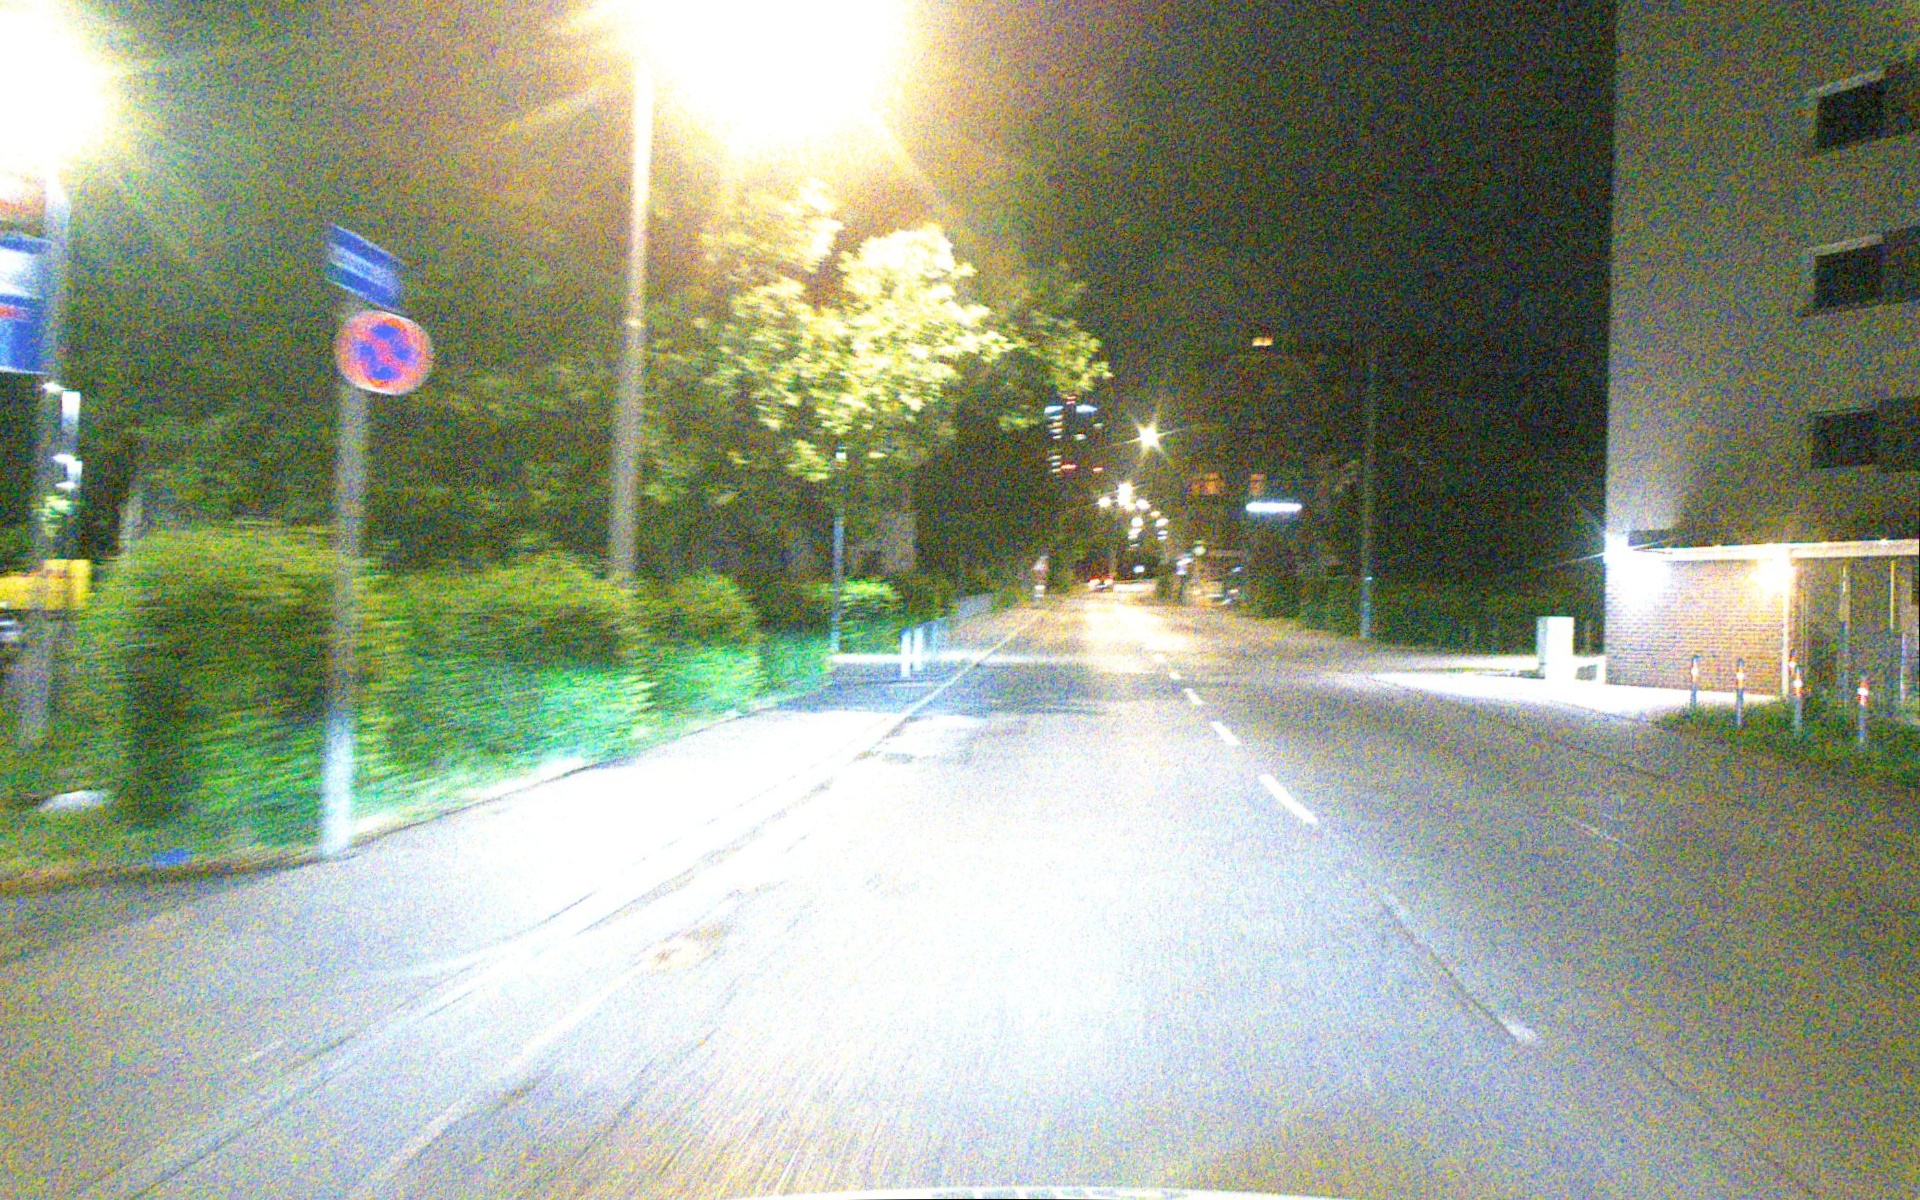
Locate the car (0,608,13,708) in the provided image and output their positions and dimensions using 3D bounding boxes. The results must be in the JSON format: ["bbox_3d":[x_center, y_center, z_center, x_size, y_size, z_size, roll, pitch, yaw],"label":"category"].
[{"bbox_3d":[-15.387,0.863,24.773,1.858,1.439,4.433,-1,0,-27],"label":"car"}]

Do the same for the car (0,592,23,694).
[{"bbox_3d":[-18.015,0.750,29.512,2.016,1.724,4.837,-1,0,-27],"label":"car"}]

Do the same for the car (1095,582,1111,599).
[{"bbox_3d":[16.799,-1.062,194.661,1.884,1.887,4.002,0,-1,5],"label":"car"}]

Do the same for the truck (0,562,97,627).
[{"bbox_3d":[-43.943,-0.299,76.772,6.708,2.894,1.979,2,-1,-32],"label":"truck"}]

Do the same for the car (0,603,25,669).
[{"bbox_3d":[-23.154,0.823,39.116,1.738,1.470,3.987,1,0,-29],"label":"car"}]
